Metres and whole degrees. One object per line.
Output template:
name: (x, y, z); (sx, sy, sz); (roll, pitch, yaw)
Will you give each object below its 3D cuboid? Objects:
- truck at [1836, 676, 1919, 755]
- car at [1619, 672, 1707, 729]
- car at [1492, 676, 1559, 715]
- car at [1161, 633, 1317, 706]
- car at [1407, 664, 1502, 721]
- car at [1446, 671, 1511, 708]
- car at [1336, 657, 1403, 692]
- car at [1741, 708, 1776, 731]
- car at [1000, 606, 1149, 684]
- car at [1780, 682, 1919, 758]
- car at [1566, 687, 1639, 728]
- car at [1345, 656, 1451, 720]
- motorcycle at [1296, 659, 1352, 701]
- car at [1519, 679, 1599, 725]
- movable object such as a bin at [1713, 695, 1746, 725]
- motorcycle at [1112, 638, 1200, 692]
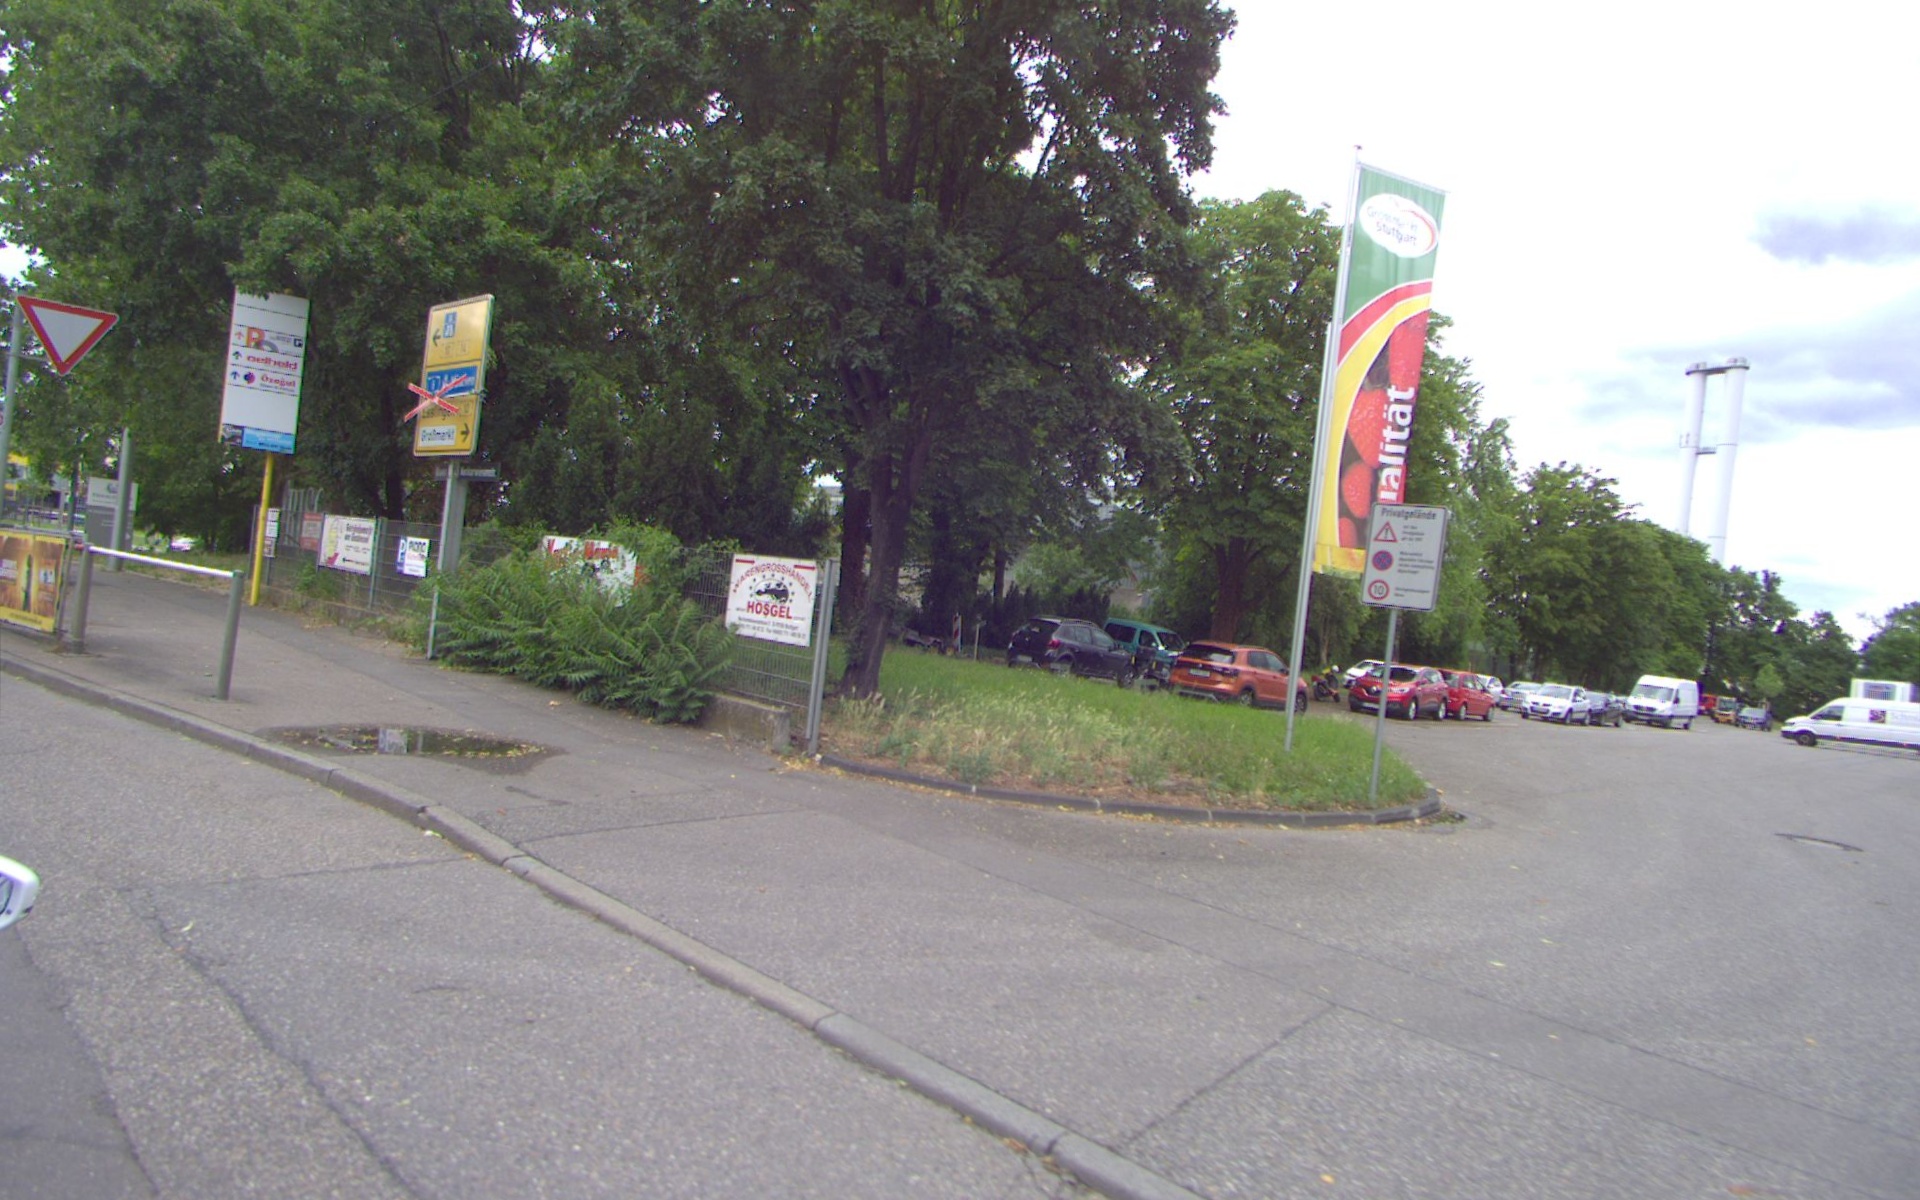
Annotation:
truck: (56.931, 7.135, 62.129); (9.126, 4.217, 2.964); (7, 0, -43)
car: (37.272, 5.344, 53.207); (6.881, 2.510, 2.282); (7, 0, -43)
car: (26.235, 4.433, 46.610); (3.637, 1.458, 1.578); (7, 0, -43)
car: (6.276, 1.577, 22.413); (1.688, 1.264, 3.680); (7, 0, 45)
car: (16.691, 3.134, 33.898); (3.766, 1.615, 1.577); (7, 0, -44)
car: (24.904, 4.300, 48.274); (3.637, 1.458, 1.578); (7, 0, -43)
car: (18.950, 3.437, 46.518); (3.292, 1.283, 1.398); (7, 0, -39)
car: (58.309, 8.729, 73.438); (1.576, 1.458, 3.641); (7, 0, 43)
car: (2.974, 1.182, 25.703); (3.715, 1.600, 1.617); (7, 0, -42)
car: (43.037, 5.704, 46.845); (2.228, 2.766, 7.071); (6, 0, -41)
car: (28.187, 4.720, 44.095); (3.633, 1.458, 1.580); (7, 0, -40)
car: (13.198, 2.667, 30.237); (1.615, 1.585, 3.541); (7, 0, 45)
motorcycle: (12.149, 2.677, 33.534); (1.002, 1.189, 2.088); (7, 0, 40)
car: (24.501, 4.193, 41.106); (3.777, 1.531, 1.580); (7, 0, -40)
movable object such as a bin: (61.099, 8.741, 79.966); (1.772, 2.038, 5.916); (7, 0, 37)
motorcycle: (4.775, 1.588, 24.450); (2.085, 1.102, 1.004); (7, 0, -44)
